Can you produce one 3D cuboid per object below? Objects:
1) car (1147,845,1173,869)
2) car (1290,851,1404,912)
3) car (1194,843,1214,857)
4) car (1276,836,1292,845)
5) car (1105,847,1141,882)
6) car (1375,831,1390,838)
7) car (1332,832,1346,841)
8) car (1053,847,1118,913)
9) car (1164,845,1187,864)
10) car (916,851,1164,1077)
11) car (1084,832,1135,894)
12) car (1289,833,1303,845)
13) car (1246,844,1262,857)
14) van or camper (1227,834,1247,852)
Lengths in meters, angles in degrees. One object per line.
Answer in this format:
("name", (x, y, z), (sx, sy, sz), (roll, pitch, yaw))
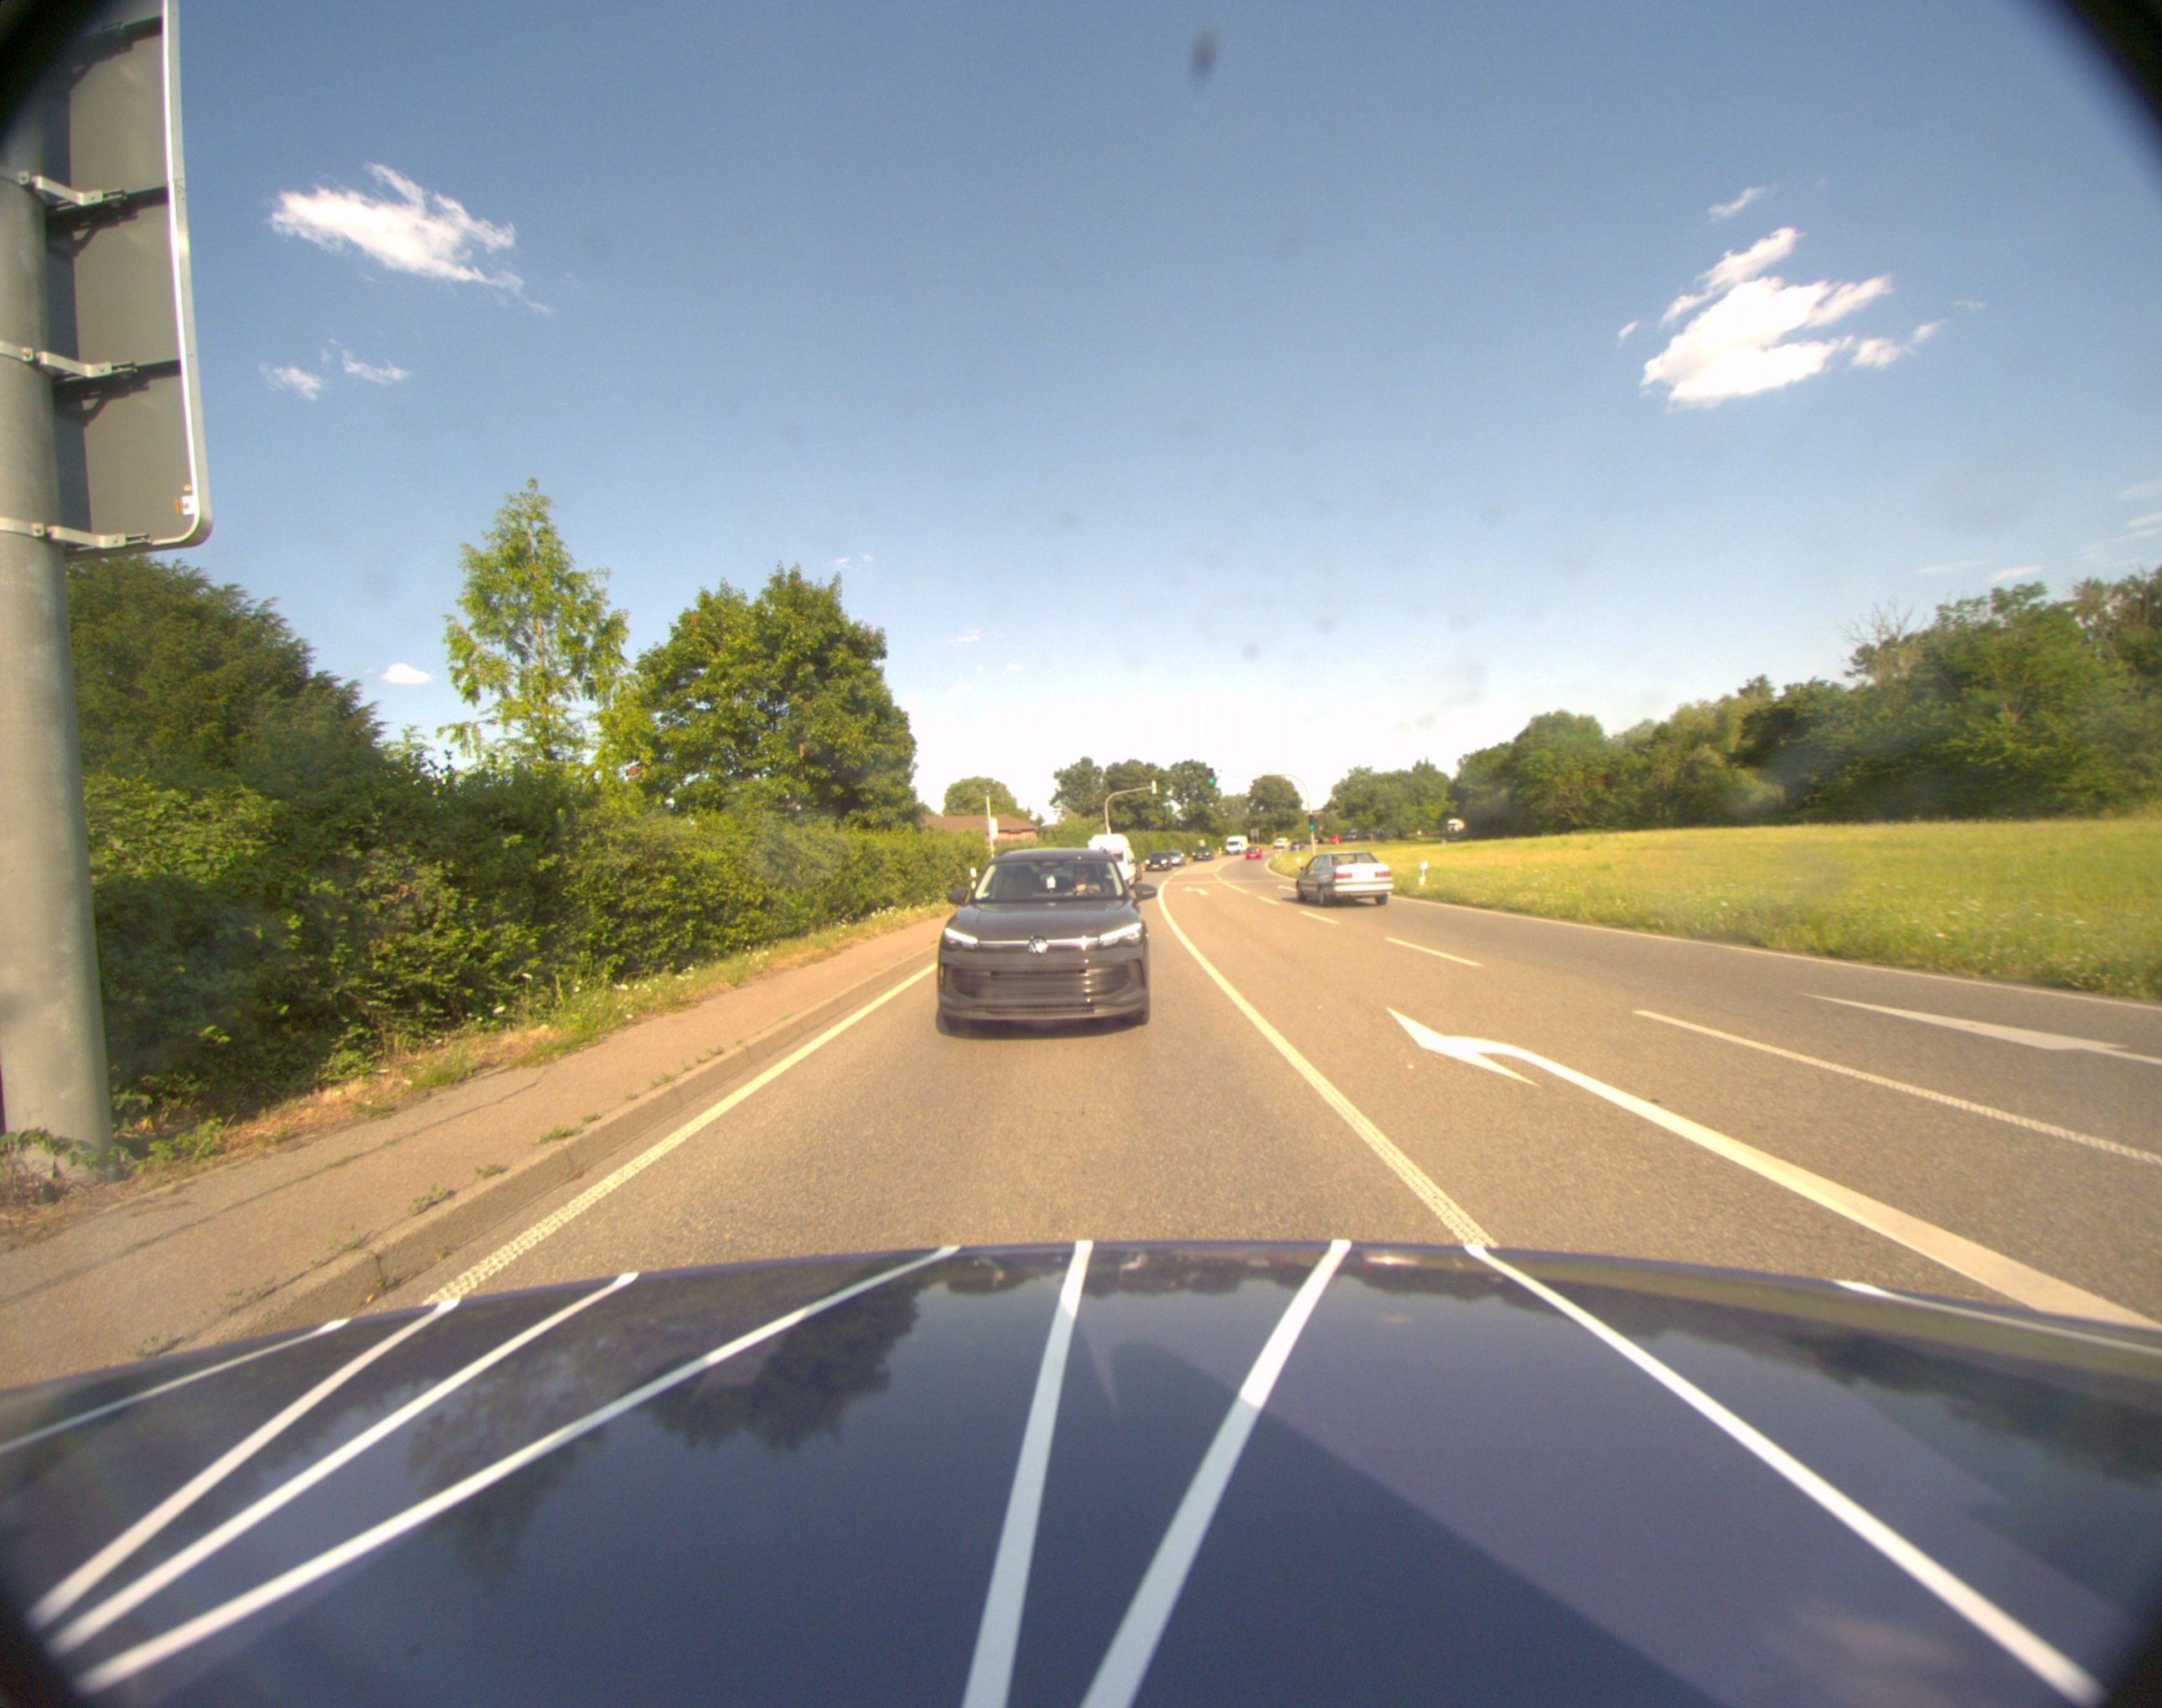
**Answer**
("car", (6.067, 0.201, 58.097), (1.672, 1.718, 3.670), (0, 2, 10))
("car", (6.992, 0.658, 20.422), (1.711, 1.420, 4.178), (-3, 0, 2))
("car", (13.588, -0.417, 83.660), (1.605, 1.471, 3.621), (0, 1, 19))
("car", (36.444, -2.453, 136.165), (1.671, 1.471, 3.500), (-4, 0, 35))
("car", (2.280, 0.527, 40.634), (1.693, 1.718, 3.669), (-1, 1, 6))
("car", (70.669, -4.457, 177.881), (1.881, 1.577, 4.339), (-1, 0, 42))
("car", (52.456, -3.631, 154.543), (1.881, 1.765, 4.330), (-1, 0, 31))
("car", (0.181, 0.670, 21.909), (1.659, 1.720, 3.804), (-1, 0, 2))
("car", (8.587, 0.052, 68.656), (1.633, 1.550, 3.419), (-1, 2, 15))
("car", (-0.309, 0.841, 7.837), (1.866, 1.633, 3.999), (-1, 1, 0))
("car", (1.246, 0.326, 31.068), (1.844, 2.338, 4.790), (-1, 1, 5))
("car", (34.486, -2.340, 121.820), (1.726, 1.871, 4.342), (-1, 0, 23))
("car", (19.223, -0.373, 84.344), (1.588, 1.458, 3.611), (-1, 0, 14))
("van or camper", (22.144, -1.591, 108.004), (2.031, 2.461, 5.083), (-4, 0, 19))
